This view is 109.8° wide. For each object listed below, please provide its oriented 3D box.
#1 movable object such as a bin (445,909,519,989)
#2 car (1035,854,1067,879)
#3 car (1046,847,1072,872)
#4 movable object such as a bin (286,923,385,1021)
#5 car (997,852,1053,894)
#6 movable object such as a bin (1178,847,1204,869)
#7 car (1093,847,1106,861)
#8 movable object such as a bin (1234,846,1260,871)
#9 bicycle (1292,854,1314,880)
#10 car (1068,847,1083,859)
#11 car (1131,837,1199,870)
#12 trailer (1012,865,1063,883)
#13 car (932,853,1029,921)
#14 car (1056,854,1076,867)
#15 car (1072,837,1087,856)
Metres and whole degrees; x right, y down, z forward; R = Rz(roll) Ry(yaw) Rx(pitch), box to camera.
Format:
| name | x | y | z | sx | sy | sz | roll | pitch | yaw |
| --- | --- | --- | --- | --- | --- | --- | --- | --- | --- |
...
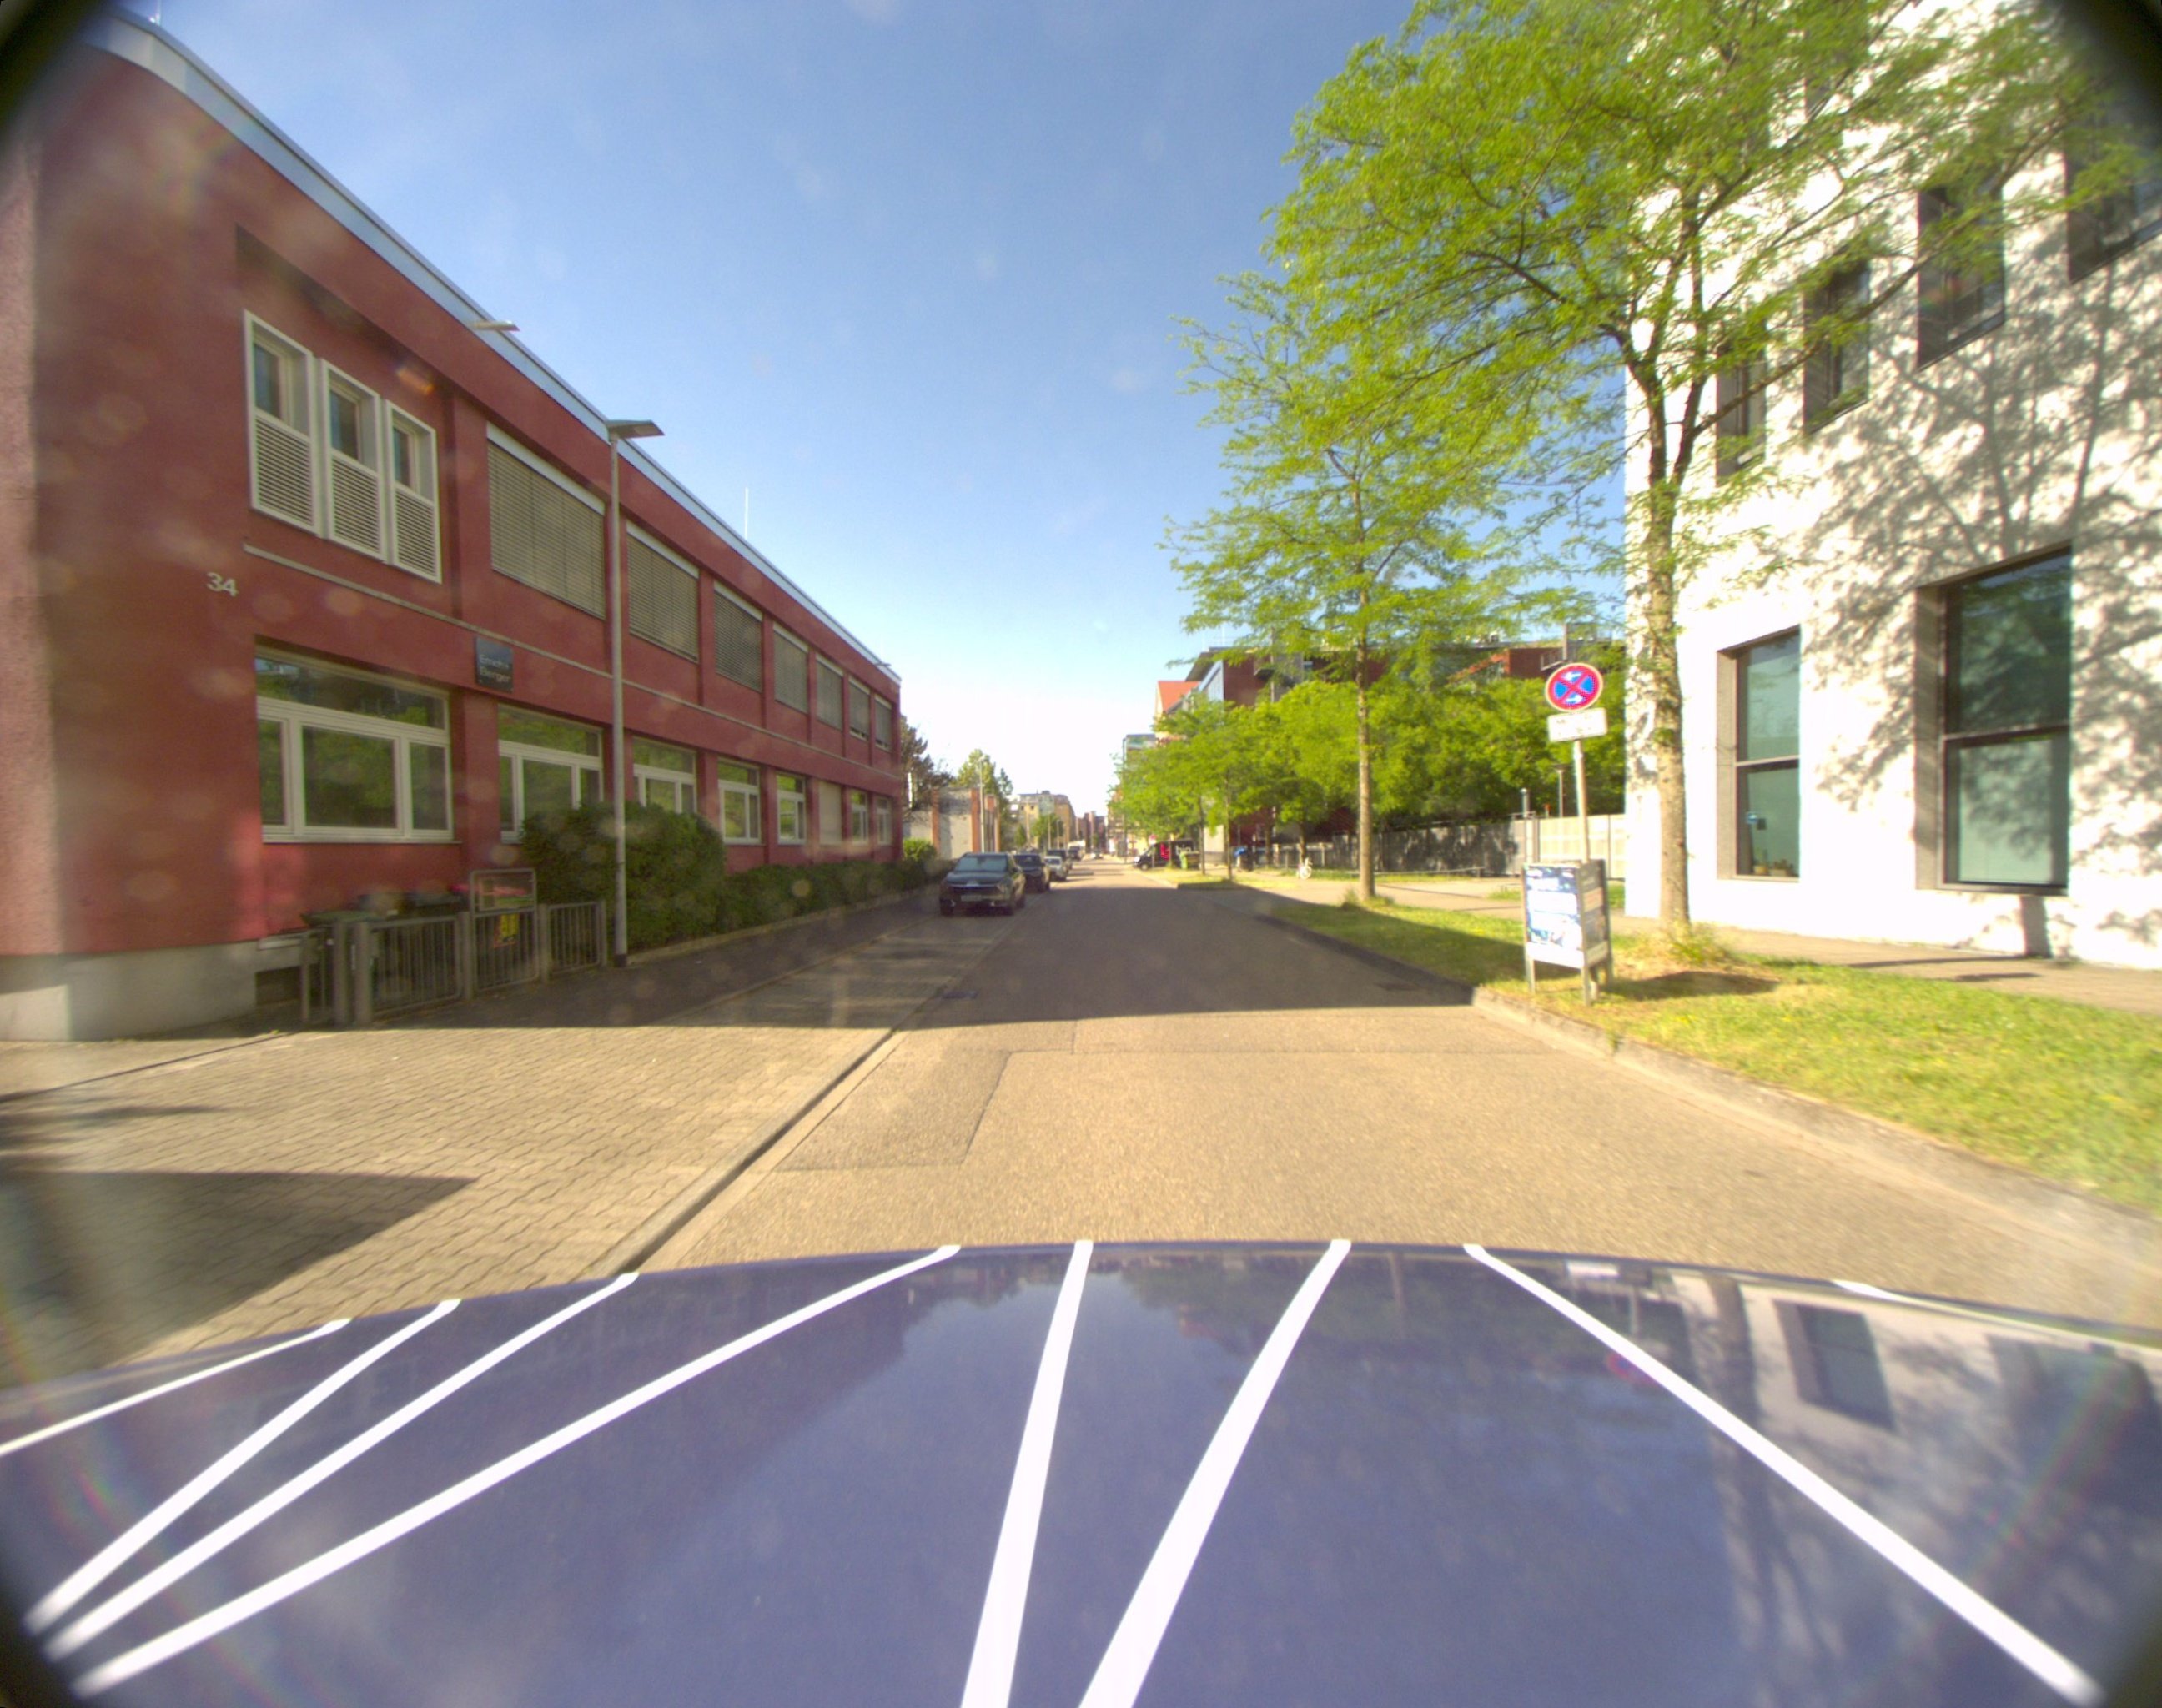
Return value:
| name | x | y | z | sx | sy | sz | roll | pitch | yaw |
| --- | --- | --- | --- | --- | --- | --- | --- | --- | --- |
| movable object such as a bin | -7.303 | 1.149 | 9.284 | 0.478 | 0.895 | 0.475 | -2 | 1 | 3 |
| car | -1.794 | 0.716 | 46.620 | 1.699 | 1.448 | 3.890 | 0 | 1 | 2 |
| car | -1.762 | 0.422 | 62.628 | 1.903 | 1.974 | 4.372 | 0 | 1 | 2 |
| movable object such as a bin | -7.449 | 1.166 | 7.607 | 0.478 | 0.895 | 0.475 | -2 | 1 | 3 |
| car | -2.298 | 0.760 | 32.129 | 1.878 | 1.620 | 4.406 | 0 | 1 | 2 |
| movable object such as a bin | 8.144 | 0.325 | 56.465 | 1.524 | 1.559 | 1.345 | -2 | 1 | -9 |
| car | 2.686 | 0.021 | 109.916 | 1.903 | 1.974 | 4.372 | 0 | 1 | 2 |
| movable object such as a bin | 10.948 | 0.266 | 50.184 | 1.522 | 1.559 | 1.347 | -2 | 1 | 6 |
| bicycle | 10.659 | 0.609 | 36.525 | 0.602 | 1.185 | 1.728 | -2 | 1 | 2 |
| car | -0.781 | -0.146 | 104.162 | 1.903 | 1.585 | 4.372 | 0 | 1 | 2 |
| car | 7.205 | -0.048 | 65.537 | 5.489 | 2.527 | 1.986 | -3 | 1 | 0 |
| trailer | -2.415 | 1.095 | 43.062 | 1.563 | 0.922 | 2.986 | 0 | 1 | 28 |
| car | -2.599 | 0.813 | 20.694 | 1.903 | 1.620 | 4.372 | 0 | 1 | 2 |
| car | -1.516 | 0.633 | 78.016 | 1.777 | 1.282 | 4.095 | 0 | 1 | 2 |
| car | -0.211 | -1.555 | 164.053 | 2.913 | 3.920 | 6.326 | 0 | 1 | 3 |
